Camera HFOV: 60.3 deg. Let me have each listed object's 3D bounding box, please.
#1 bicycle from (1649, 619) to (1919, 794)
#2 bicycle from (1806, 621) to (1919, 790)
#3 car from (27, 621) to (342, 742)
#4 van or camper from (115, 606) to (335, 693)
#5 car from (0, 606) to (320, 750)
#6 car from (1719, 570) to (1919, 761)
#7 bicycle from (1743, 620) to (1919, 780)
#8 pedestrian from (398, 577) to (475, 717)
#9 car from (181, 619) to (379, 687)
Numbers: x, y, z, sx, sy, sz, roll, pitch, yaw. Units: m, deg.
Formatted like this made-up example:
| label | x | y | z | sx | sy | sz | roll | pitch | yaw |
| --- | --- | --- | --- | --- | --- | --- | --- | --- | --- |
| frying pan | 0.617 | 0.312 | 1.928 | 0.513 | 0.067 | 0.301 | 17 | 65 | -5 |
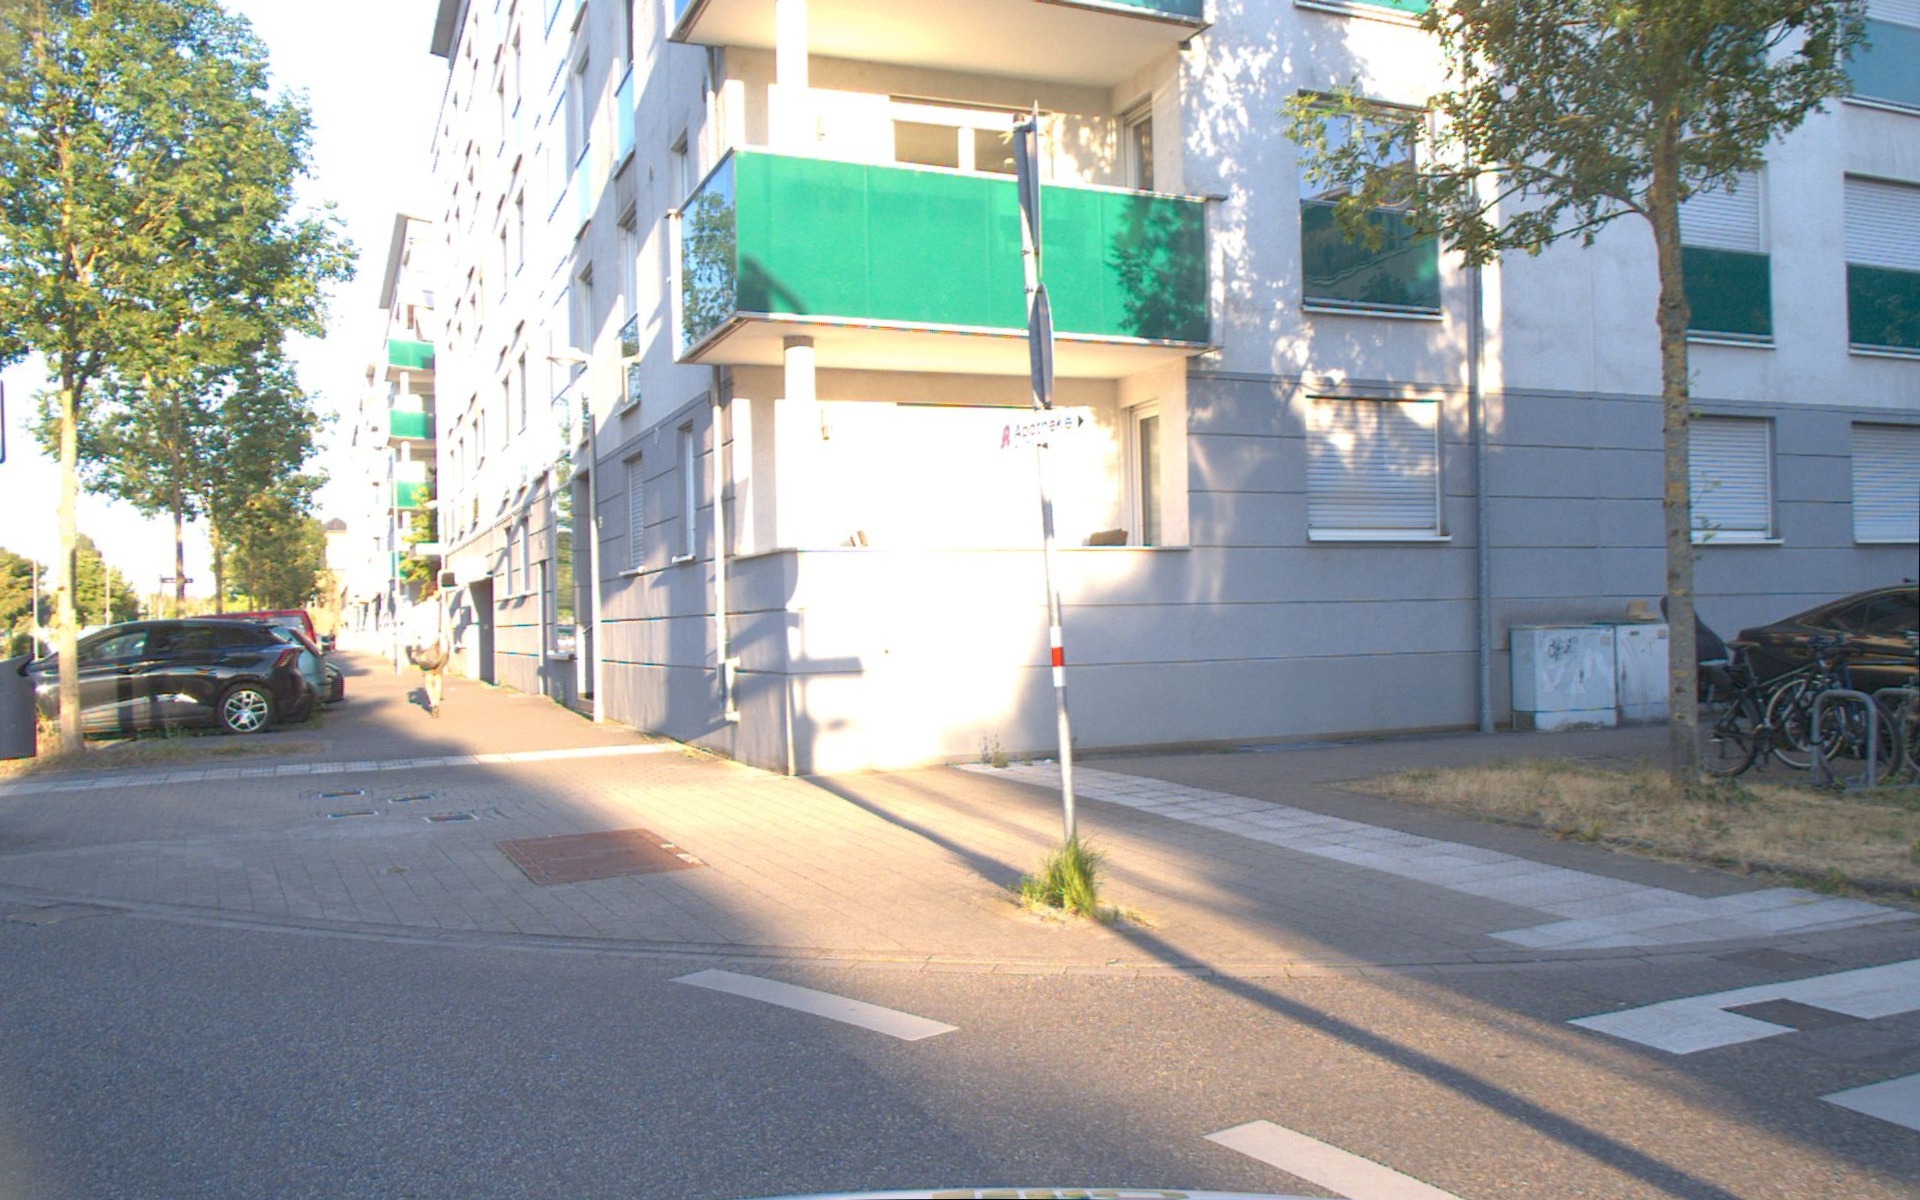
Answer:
| label | x | y | z | sx | sy | sz | roll | pitch | yaw |
| --- | --- | --- | --- | --- | --- | --- | --- | --- | --- |
| bicycle | 5.723 | 0.688 | 11.471 | 0.559 | 1.060 | 1.776 | 0 | 1 | -29 |
| bicycle | 6.618 | 0.717 | 10.991 | 0.467 | 1.090 | 1.823 | 0 | 1 | -29 |
| car | -11.119 | 1.118 | 23.931 | 3.941 | 1.397 | 1.548 | -3 | 1 | -24 |
| van or camper | -18.807 | 1.234 | 42.476 | 5.049 | 2.096 | 1.863 | 0 | -1 | -25 |
| car | -10.586 | 0.982 | 21.065 | 4.409 | 1.513 | 1.819 | -3 | 0 | -24 |
| car | 8.575 | 0.523 | 12.888 | 1.905 | 1.483 | 4.857 | 0 | 2 | -23 |
| bicycle | 6.721 | 0.714 | 11.959 | 0.467 | 1.064 | 2.016 | 0 | 1 | -29 |
| pedestrian | -7.411 | 0.655 | 23.380 | 0.963 | 1.927 | 1.042 | 0 | -2 | -22 |
| car | -16.616 | 1.282 | 40.492 | 4.394 | 1.548 | 1.688 | 0 | -1 | -24 |
